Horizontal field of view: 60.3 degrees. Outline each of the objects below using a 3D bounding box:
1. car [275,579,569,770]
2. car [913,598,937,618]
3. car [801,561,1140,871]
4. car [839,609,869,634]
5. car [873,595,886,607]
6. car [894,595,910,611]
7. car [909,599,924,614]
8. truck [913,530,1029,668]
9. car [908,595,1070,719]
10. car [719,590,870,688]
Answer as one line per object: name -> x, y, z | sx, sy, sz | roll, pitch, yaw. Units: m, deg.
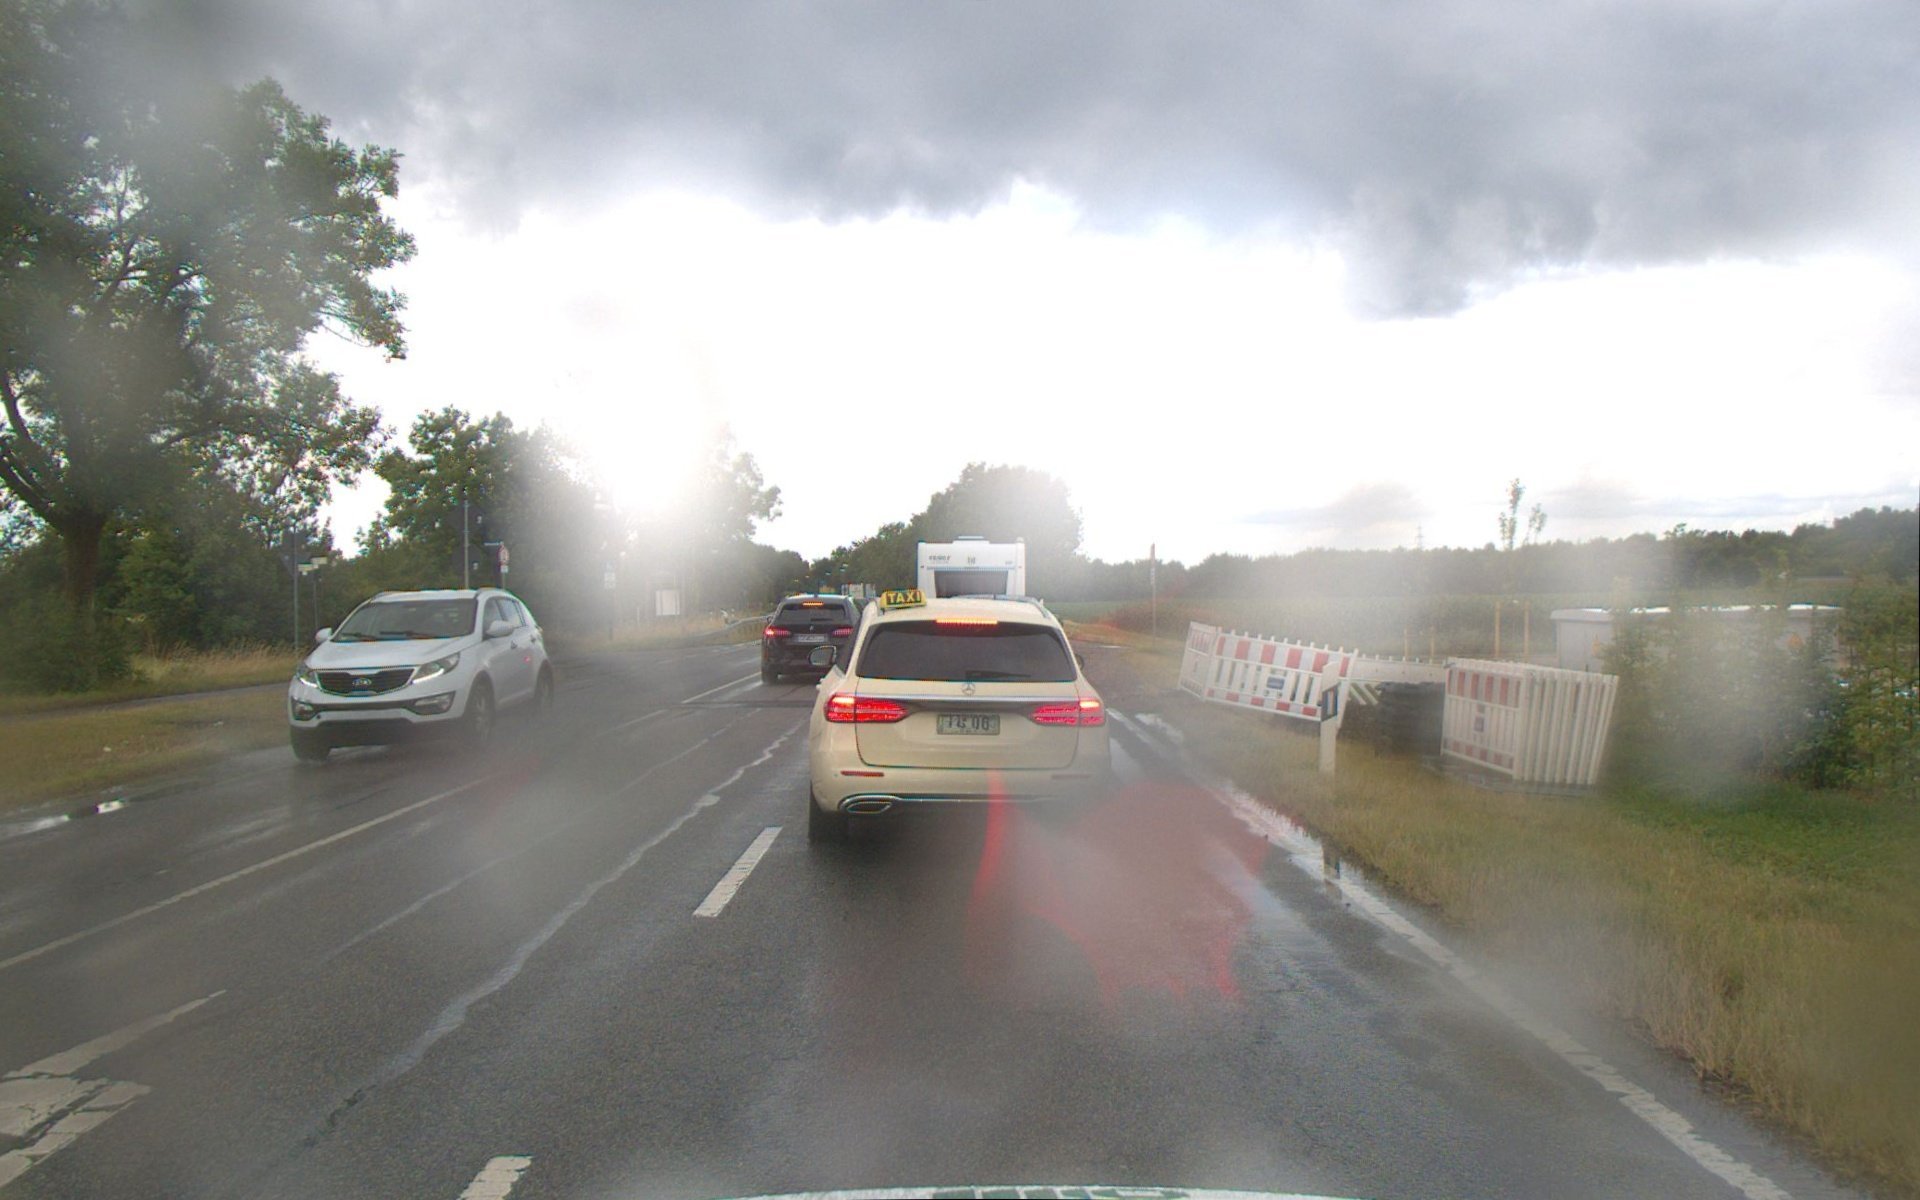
car -> -5.522, 0.692, 17.540 | 1.669, 1.700, 4.156 | -3, 0, 0
car -> -3.283, 0.765, 154.569 | 1.954, 1.803, 3.996 | -1, 0, -5
car -> 0.032, 0.625, 10.862 | 1.805, 1.646, 3.999 | 0, 0, -1
car -> -6.731, 1.331, 104.934 | 1.685, 1.429, 4.042 | -3, 0, -1
car -> -12.419, 0.161, 256.143 | 1.857, 1.872, 3.881 | -1, 0, -1
car -> -7.360, 0.414, 208.930 | 1.858, 1.928, 3.840 | -1, 0, -4
car -> -4.768, 0.681, 181.891 | 1.648, 1.578, 3.752 | 1, 0, -1
truck -> 0.188, -0.028, 37.422 | 2.315, 2.776, 7.313 | -1, 0, -1
car -> 0.332, 0.709, 22.274 | 1.953, 1.488, 3.999 | 1, 0, -1
car -> -2.847, 0.650, 29.522 | 2.255, 1.574, 4.631 | 1, 0, -1
